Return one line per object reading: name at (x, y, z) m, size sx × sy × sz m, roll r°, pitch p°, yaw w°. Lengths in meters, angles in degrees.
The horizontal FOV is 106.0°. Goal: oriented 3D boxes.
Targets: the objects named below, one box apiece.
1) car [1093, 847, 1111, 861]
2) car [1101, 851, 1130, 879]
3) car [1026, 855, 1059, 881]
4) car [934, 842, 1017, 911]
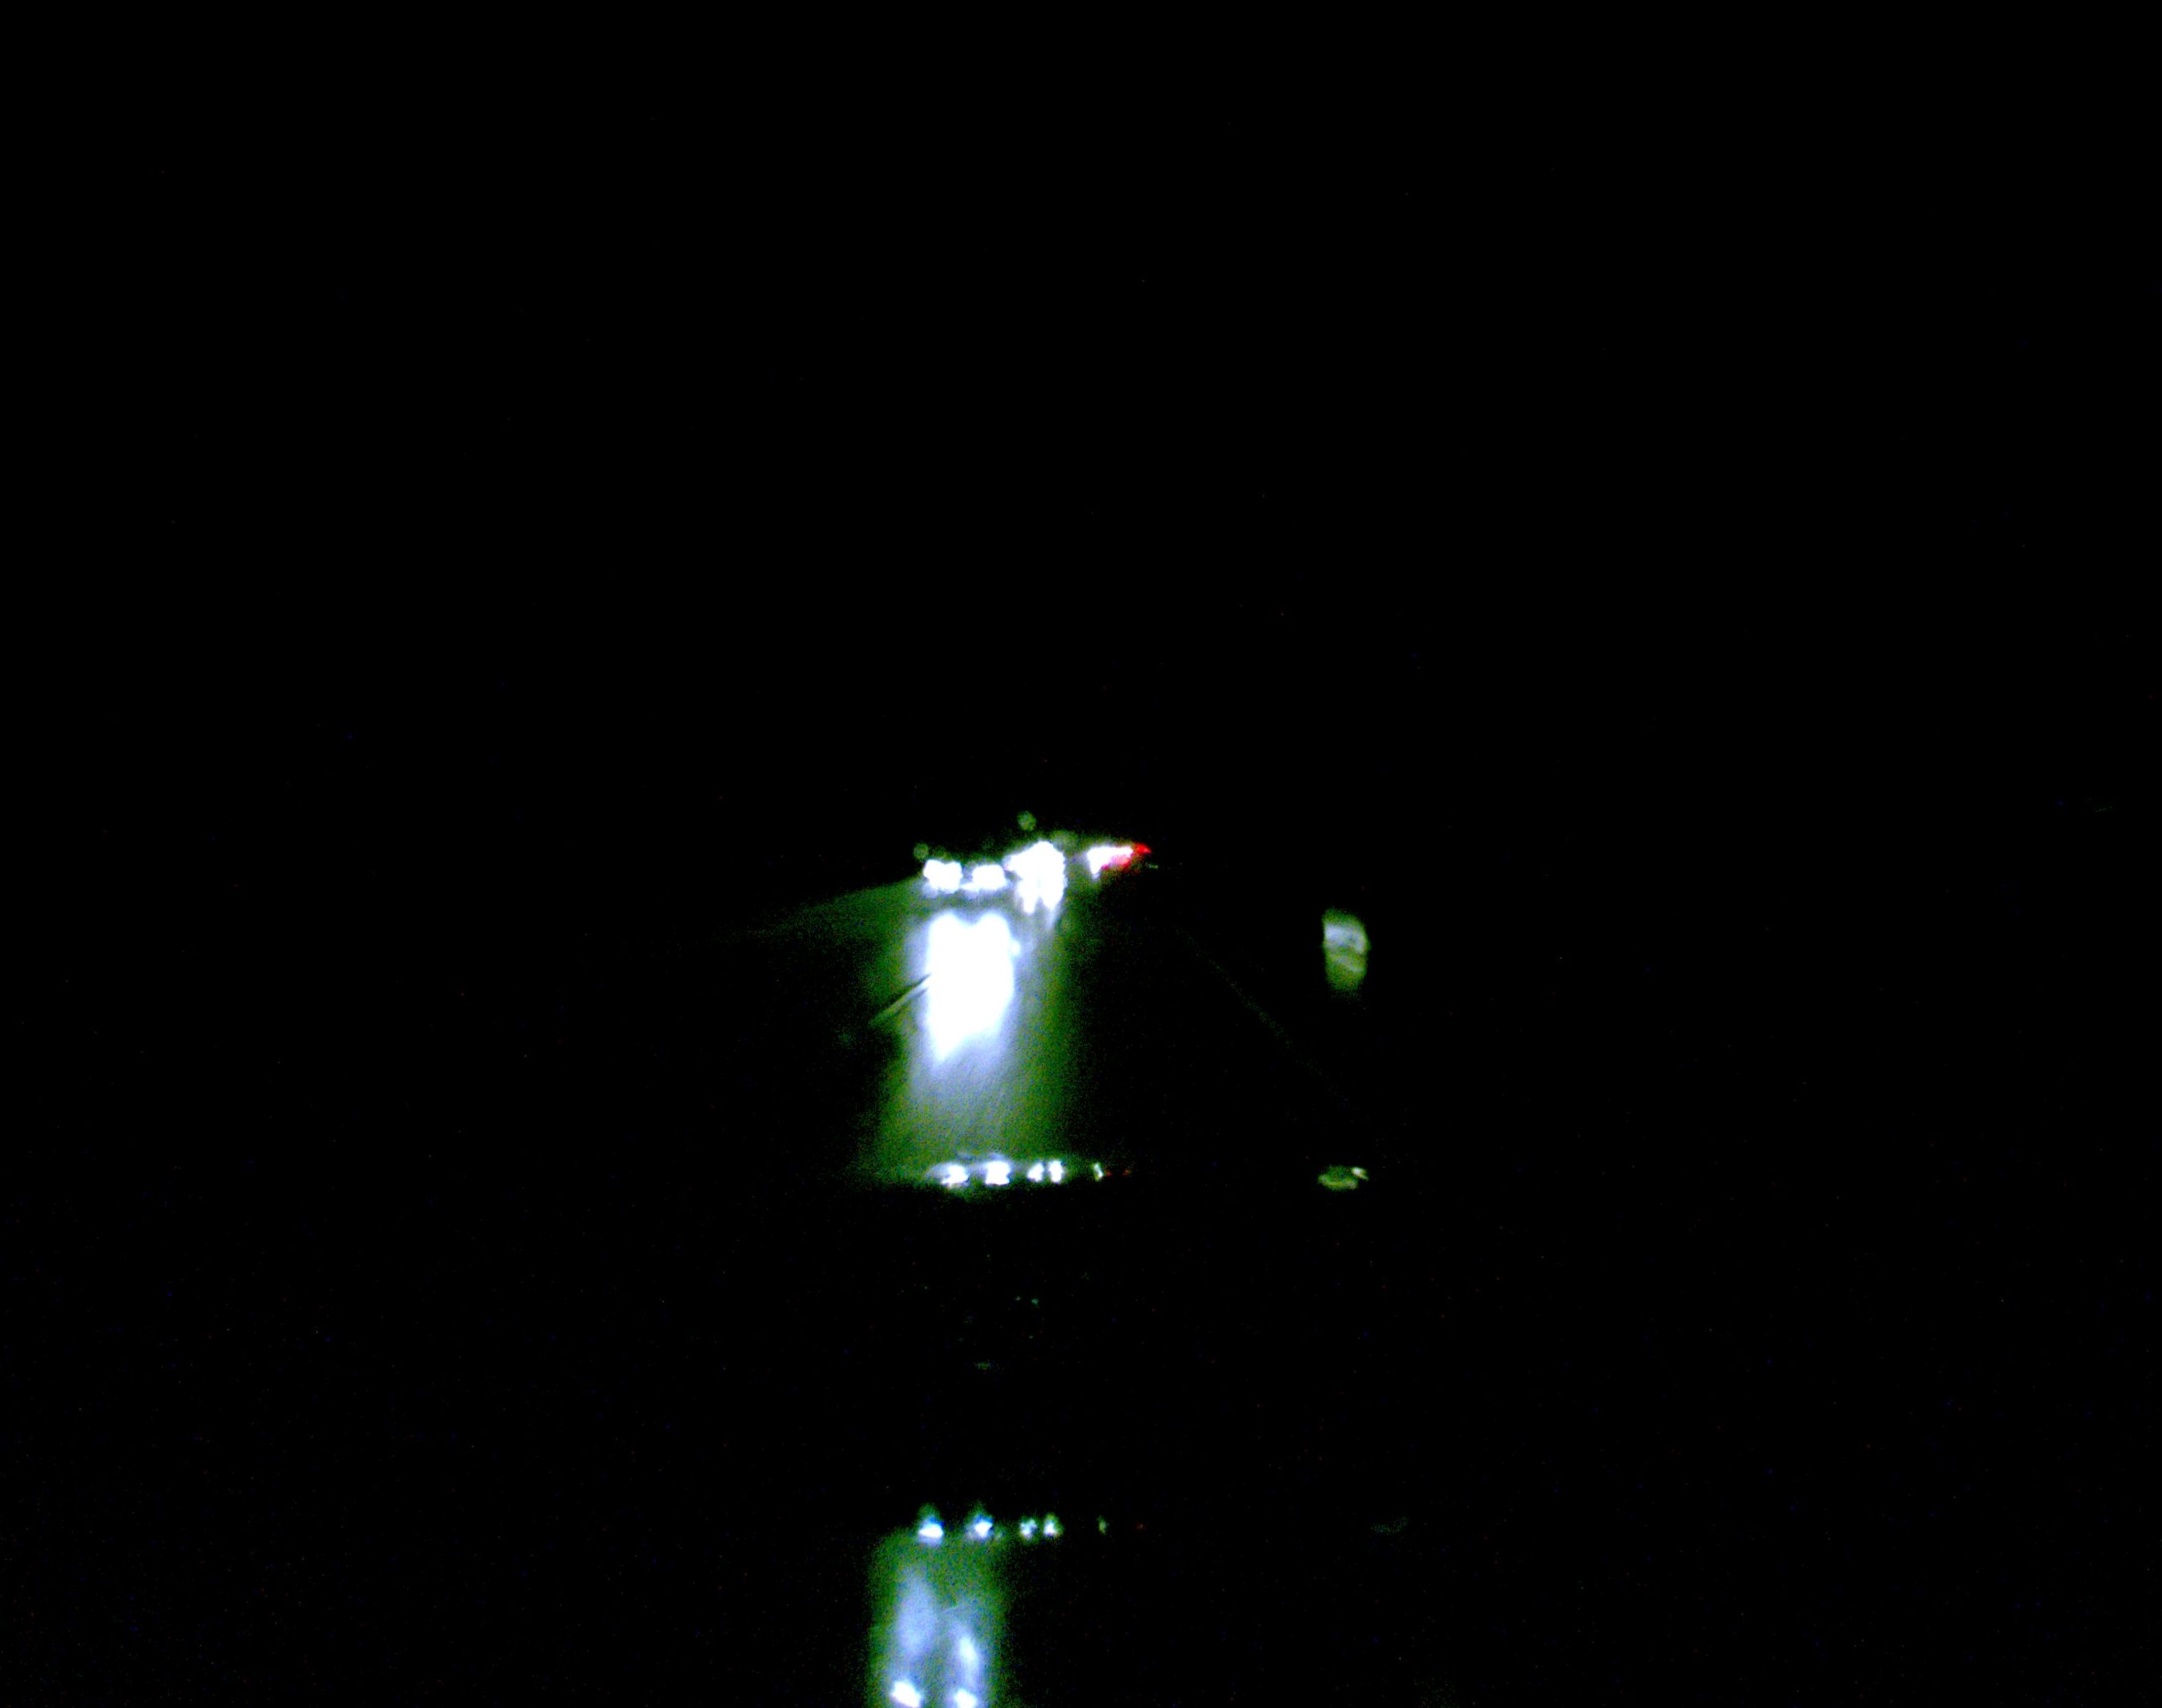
car at (2.635, -0.003, 101.389) m, size 1.984 × 1.624 × 4.005 m, roll 0°, pitch 0°, yaw 4°
car at (2.269, 0.672, 54.346) m, size 1.835 × 1.740 × 4.002 m, roll -1°, pitch 1°, yaw 2°
car at (-2.227, 0.819, 48.008) m, size 1.590 × 1.402 × 3.472 m, roll -1°, pitch -1°, yaw 2°
car at (-3.150, 0.662, 25.067) m, size 1.796 × 1.928 × 4.003 m, roll -1°, pitch -1°, yaw 3°
